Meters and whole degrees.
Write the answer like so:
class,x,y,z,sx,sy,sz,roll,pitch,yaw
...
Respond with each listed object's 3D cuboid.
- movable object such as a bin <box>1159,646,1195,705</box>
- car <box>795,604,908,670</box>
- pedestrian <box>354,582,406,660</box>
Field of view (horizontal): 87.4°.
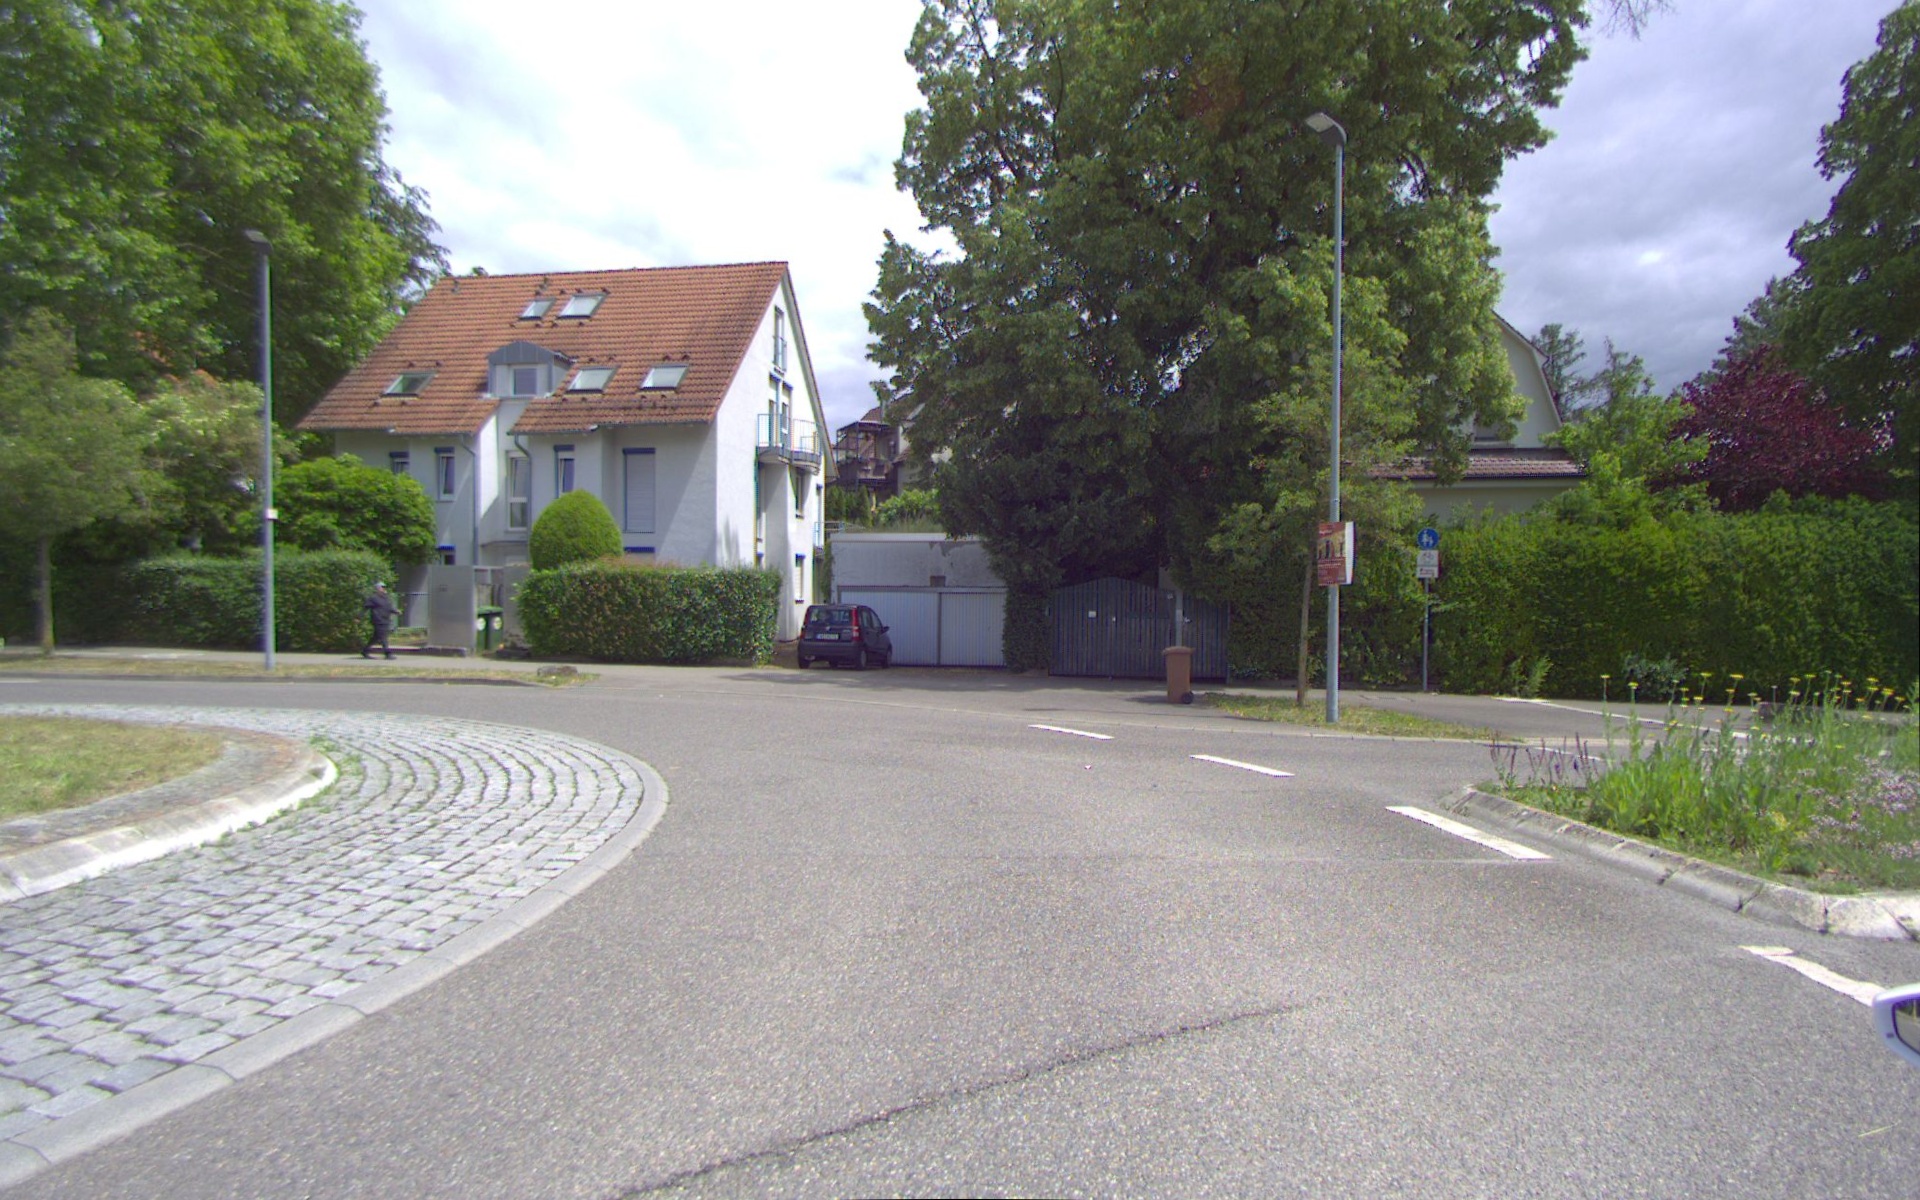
class,x,y,z,sx,sy,sz,roll,pitch,yaw
movable object such as a bin,3.598,1.252,16.694,0.405,0.947,0.440,1,-1,-17
car,-2.517,0.916,24.100,1.631,1.415,3.582,2,-3,11
pedestrian,-13.160,0.468,22.798,0.680,1.714,0.746,2,1,12
